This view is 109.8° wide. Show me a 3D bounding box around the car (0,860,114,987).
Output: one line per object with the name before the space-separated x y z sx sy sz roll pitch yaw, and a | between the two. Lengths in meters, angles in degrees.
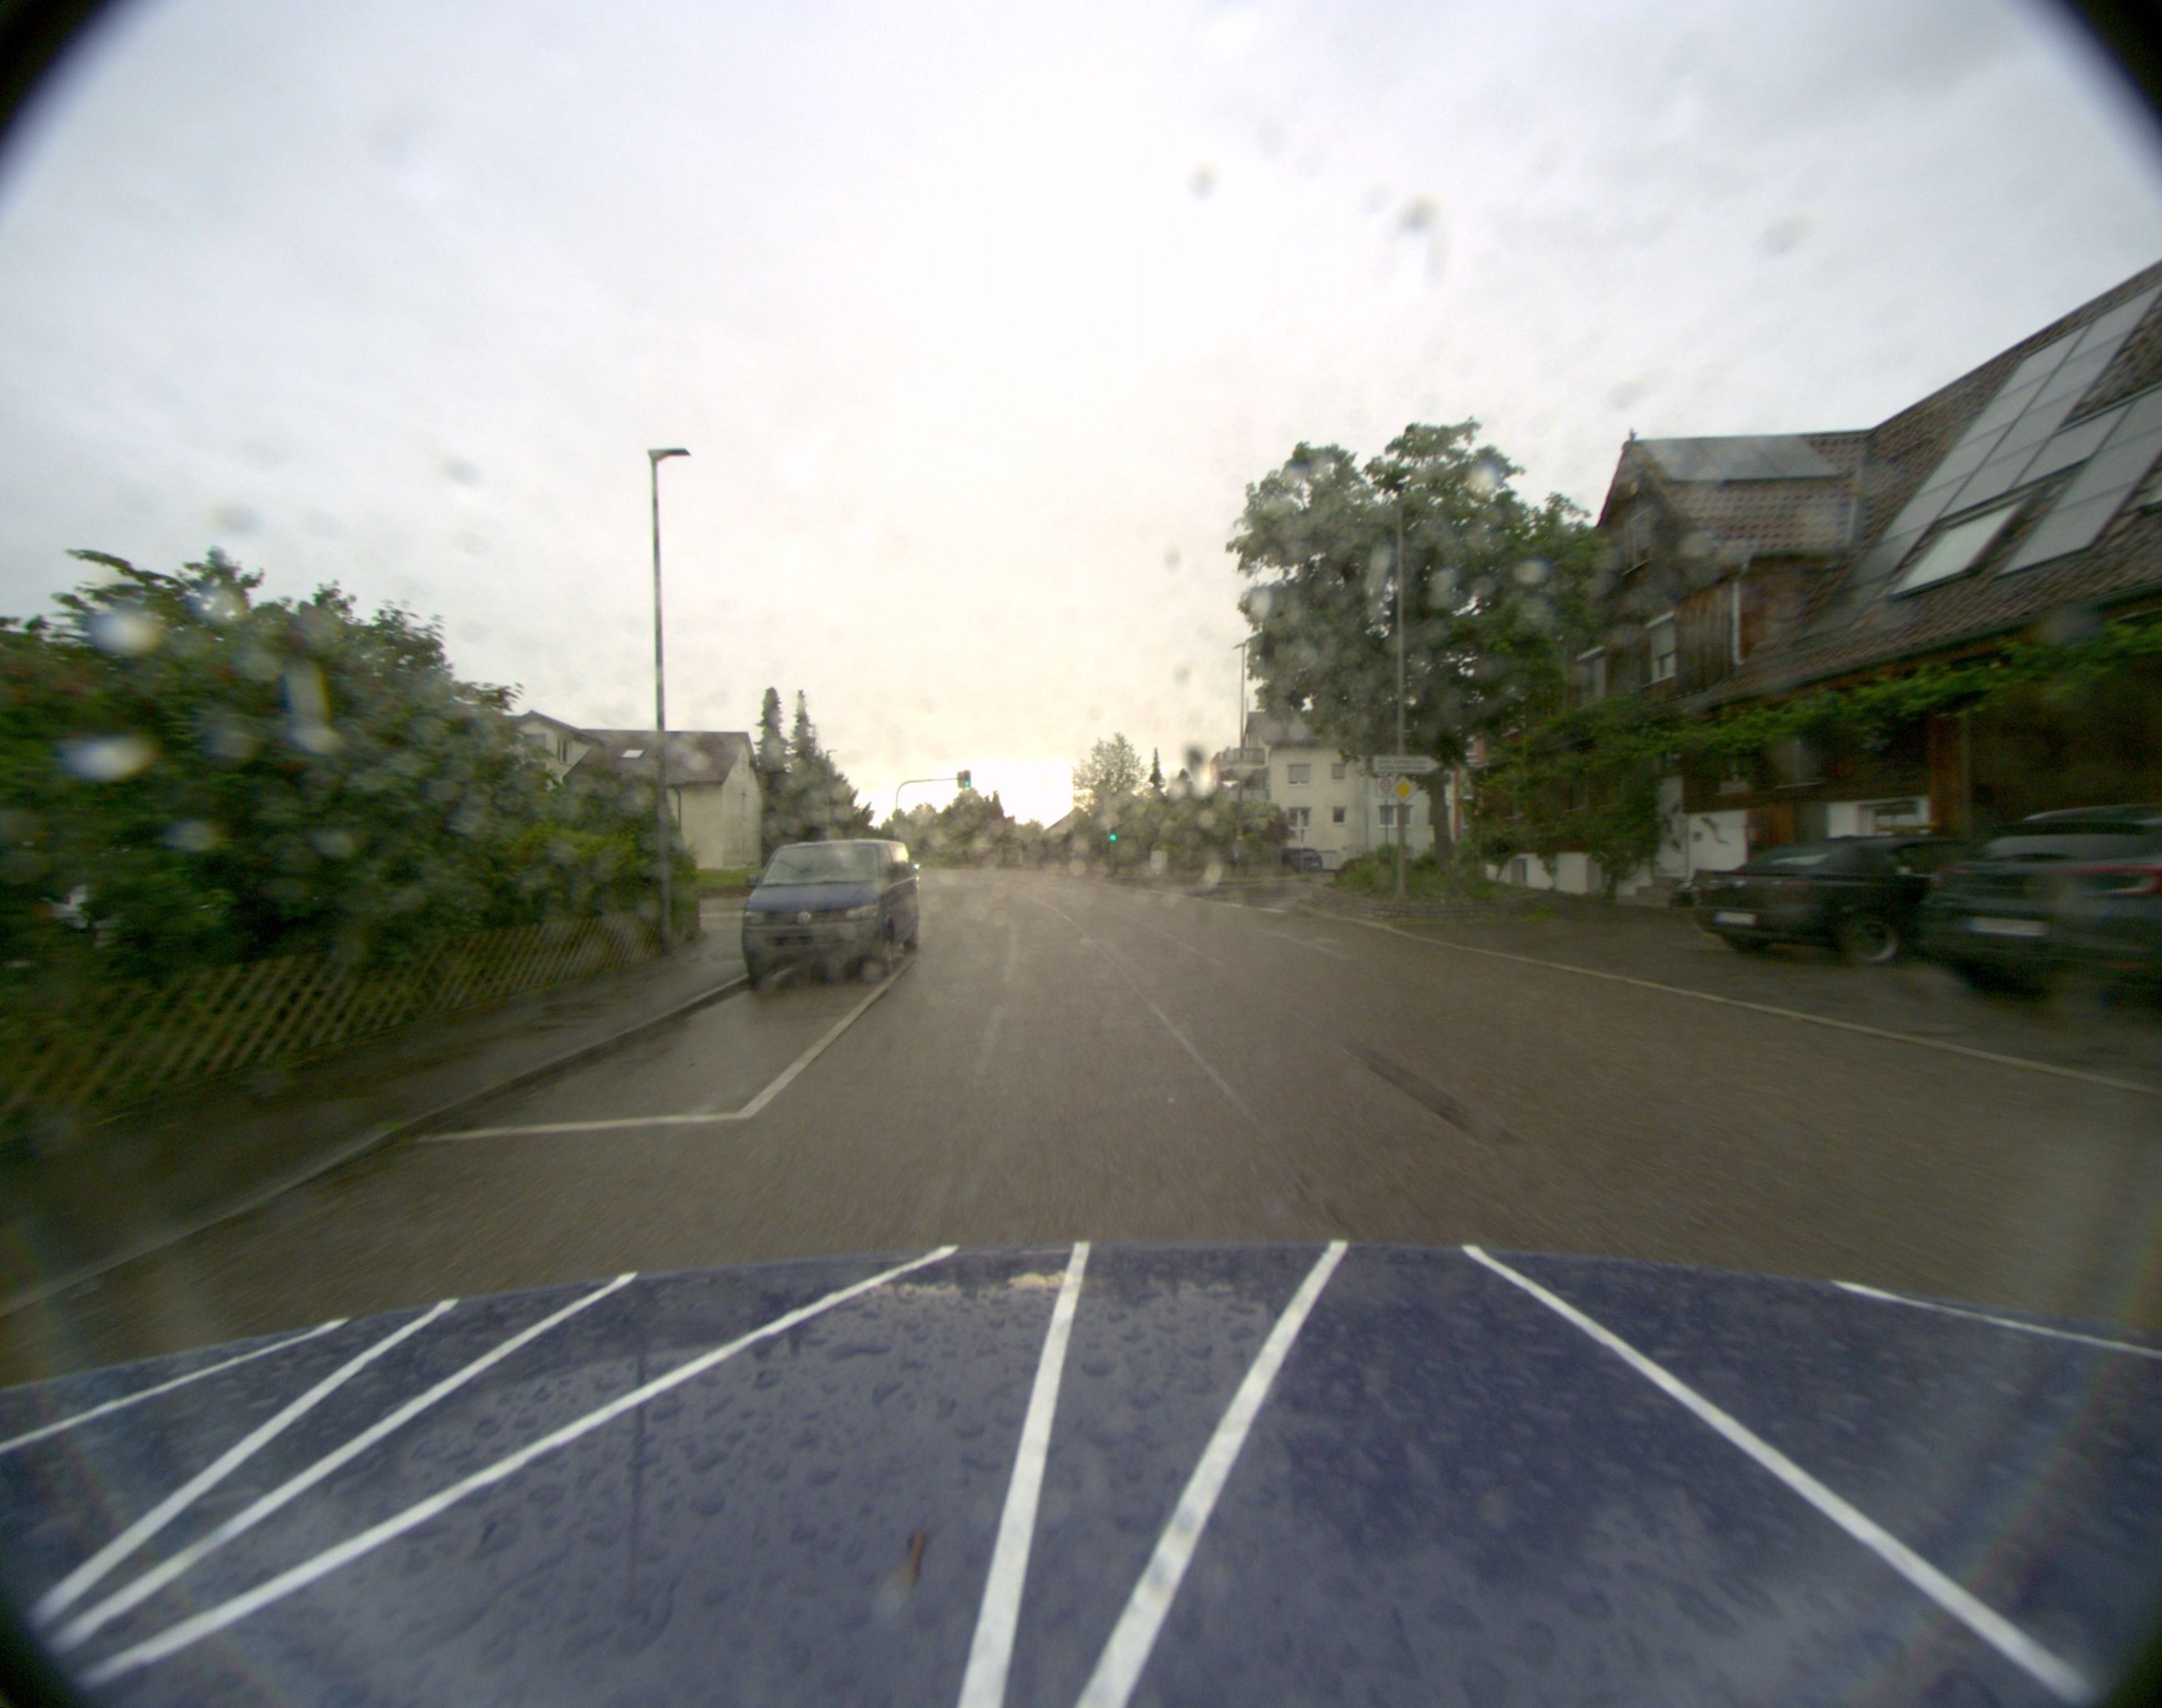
car | -18.561 1.171 11.469 1.952 2.071 5.180 -2 0 -12

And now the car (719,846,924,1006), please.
car | -3.712 0.876 11.862 1.936 1.891 4.790 -3 1 -6

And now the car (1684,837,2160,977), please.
car | 9.208 0.541 8.581 3.454 1.410 1.633 -1 1 3

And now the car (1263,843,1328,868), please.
car | 12.400 0.078 44.087 1.780 1.413 3.619 -1 1 -23

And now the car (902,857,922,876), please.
car | -17.346 1.273 78.123 2.000 1.831 3.996 -1 0 -12

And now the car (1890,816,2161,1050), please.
car | 9.008 0.447 5.755 3.583 1.497 1.856 -3 0 5
